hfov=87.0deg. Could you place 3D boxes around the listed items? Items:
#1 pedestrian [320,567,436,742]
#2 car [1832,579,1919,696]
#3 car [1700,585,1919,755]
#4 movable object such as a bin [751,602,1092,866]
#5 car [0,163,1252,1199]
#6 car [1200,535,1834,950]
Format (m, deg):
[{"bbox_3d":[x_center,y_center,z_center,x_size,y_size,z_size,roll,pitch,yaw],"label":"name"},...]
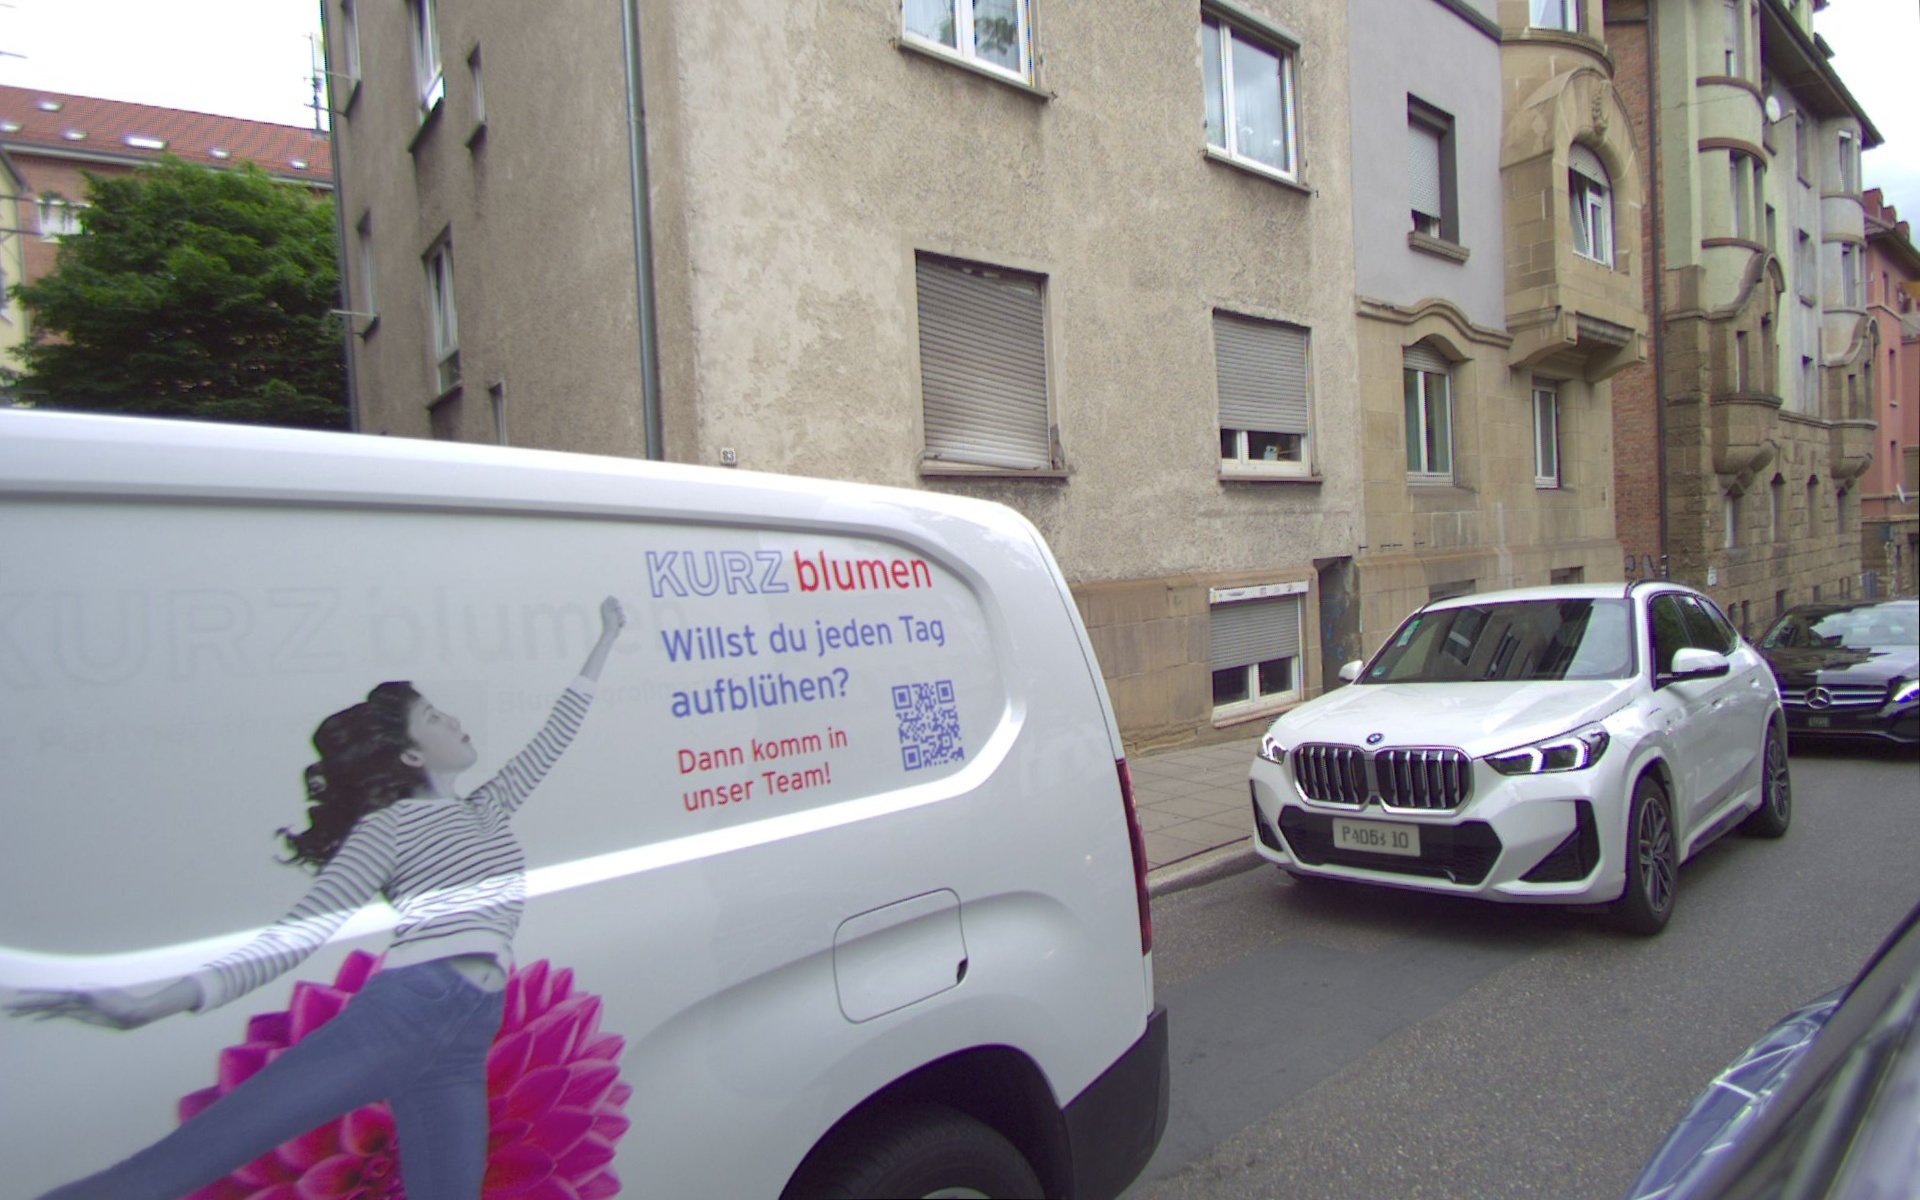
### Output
[{"bbox_3d":[-6.066,0.529,10.551,0.771,1.665,0.810,-8,6,-39],"label":"pedestrian"},{"bbox_3d":[14.425,0.440,14.673,4.227,1.534,1.935,-2,-2,-40],"label":"car"},{"bbox_3d":[9.271,0.590,10.286,4.133,1.395,1.882,-2,-2,-41],"label":"car"},{"bbox_3d":[-0.217,0.751,6.771,1.980,1.391,1.223,-2,2,-43],"label":"movable object such as a bin"},{"bbox_3d":[-1.744,0.543,1.466,4.597,1.798,1.977,-2,-2,-42],"label":"car"},{"bbox_3d":[3.506,0.549,5.979,4.276,1.576,1.857,-2,-3,-42],"label":"car"}]
